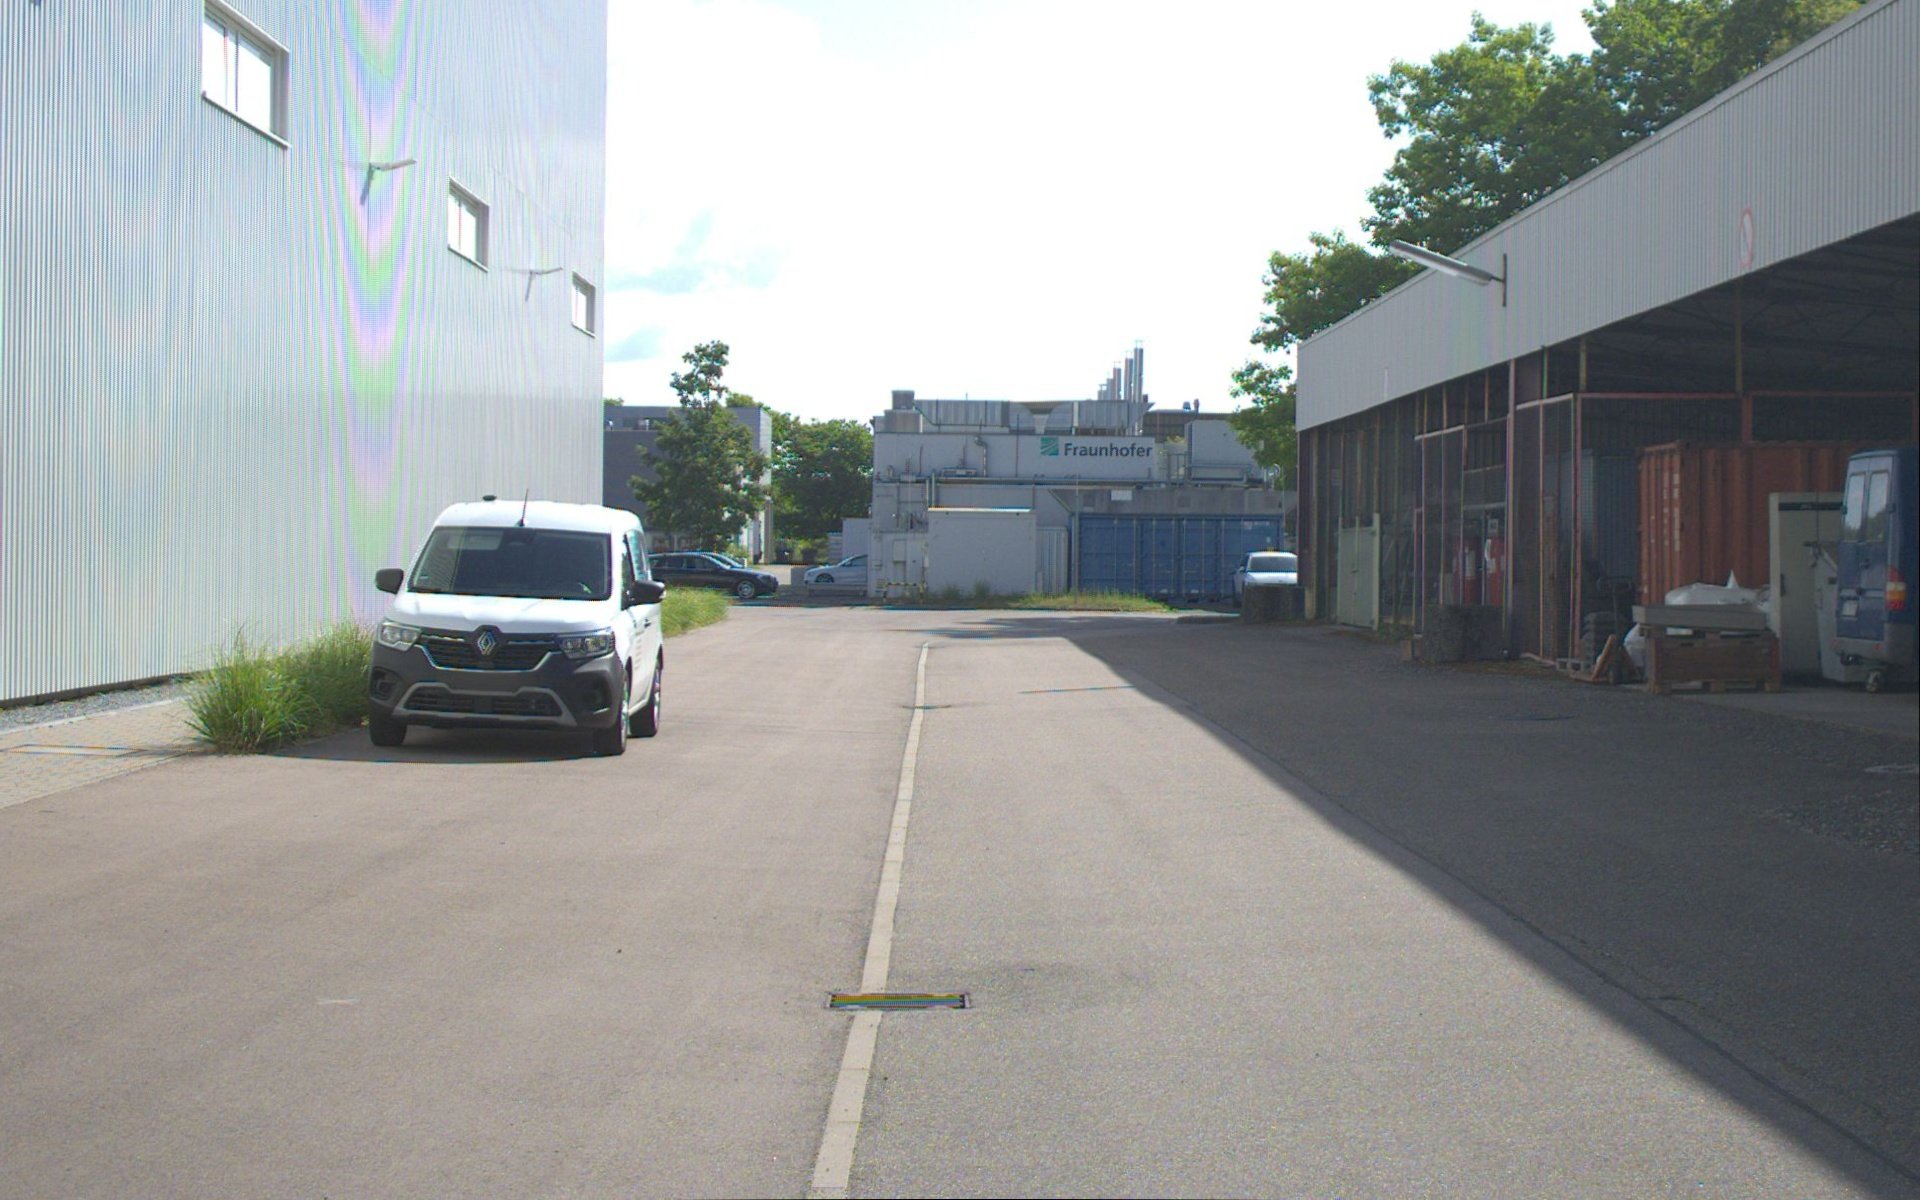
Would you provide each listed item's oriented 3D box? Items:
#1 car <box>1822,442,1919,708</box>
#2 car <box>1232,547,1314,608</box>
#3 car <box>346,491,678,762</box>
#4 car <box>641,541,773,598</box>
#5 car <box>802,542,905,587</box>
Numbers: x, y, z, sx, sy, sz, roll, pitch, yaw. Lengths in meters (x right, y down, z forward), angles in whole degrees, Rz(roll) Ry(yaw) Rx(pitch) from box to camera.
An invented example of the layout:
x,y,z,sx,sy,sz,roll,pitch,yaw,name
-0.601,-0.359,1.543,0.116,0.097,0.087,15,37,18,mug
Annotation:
x,y,z,sx,sy,sz,roll,pitch,yaw,name
10.213,-0.131,30.826,4.433,2.302,1.915,2,-1,1,car
8.658,-0.646,95.308,1.962,1.559,4.059,2,1,2,car
-3.224,0.135,25.555,1.818,1.781,4.405,2,1,0,car
-7.901,-0.939,107.790,3.987,1.592,1.742,2,-1,-1,car
-4.197,-1.387,135.654,3.987,1.592,1.848,2,-1,-1,car
